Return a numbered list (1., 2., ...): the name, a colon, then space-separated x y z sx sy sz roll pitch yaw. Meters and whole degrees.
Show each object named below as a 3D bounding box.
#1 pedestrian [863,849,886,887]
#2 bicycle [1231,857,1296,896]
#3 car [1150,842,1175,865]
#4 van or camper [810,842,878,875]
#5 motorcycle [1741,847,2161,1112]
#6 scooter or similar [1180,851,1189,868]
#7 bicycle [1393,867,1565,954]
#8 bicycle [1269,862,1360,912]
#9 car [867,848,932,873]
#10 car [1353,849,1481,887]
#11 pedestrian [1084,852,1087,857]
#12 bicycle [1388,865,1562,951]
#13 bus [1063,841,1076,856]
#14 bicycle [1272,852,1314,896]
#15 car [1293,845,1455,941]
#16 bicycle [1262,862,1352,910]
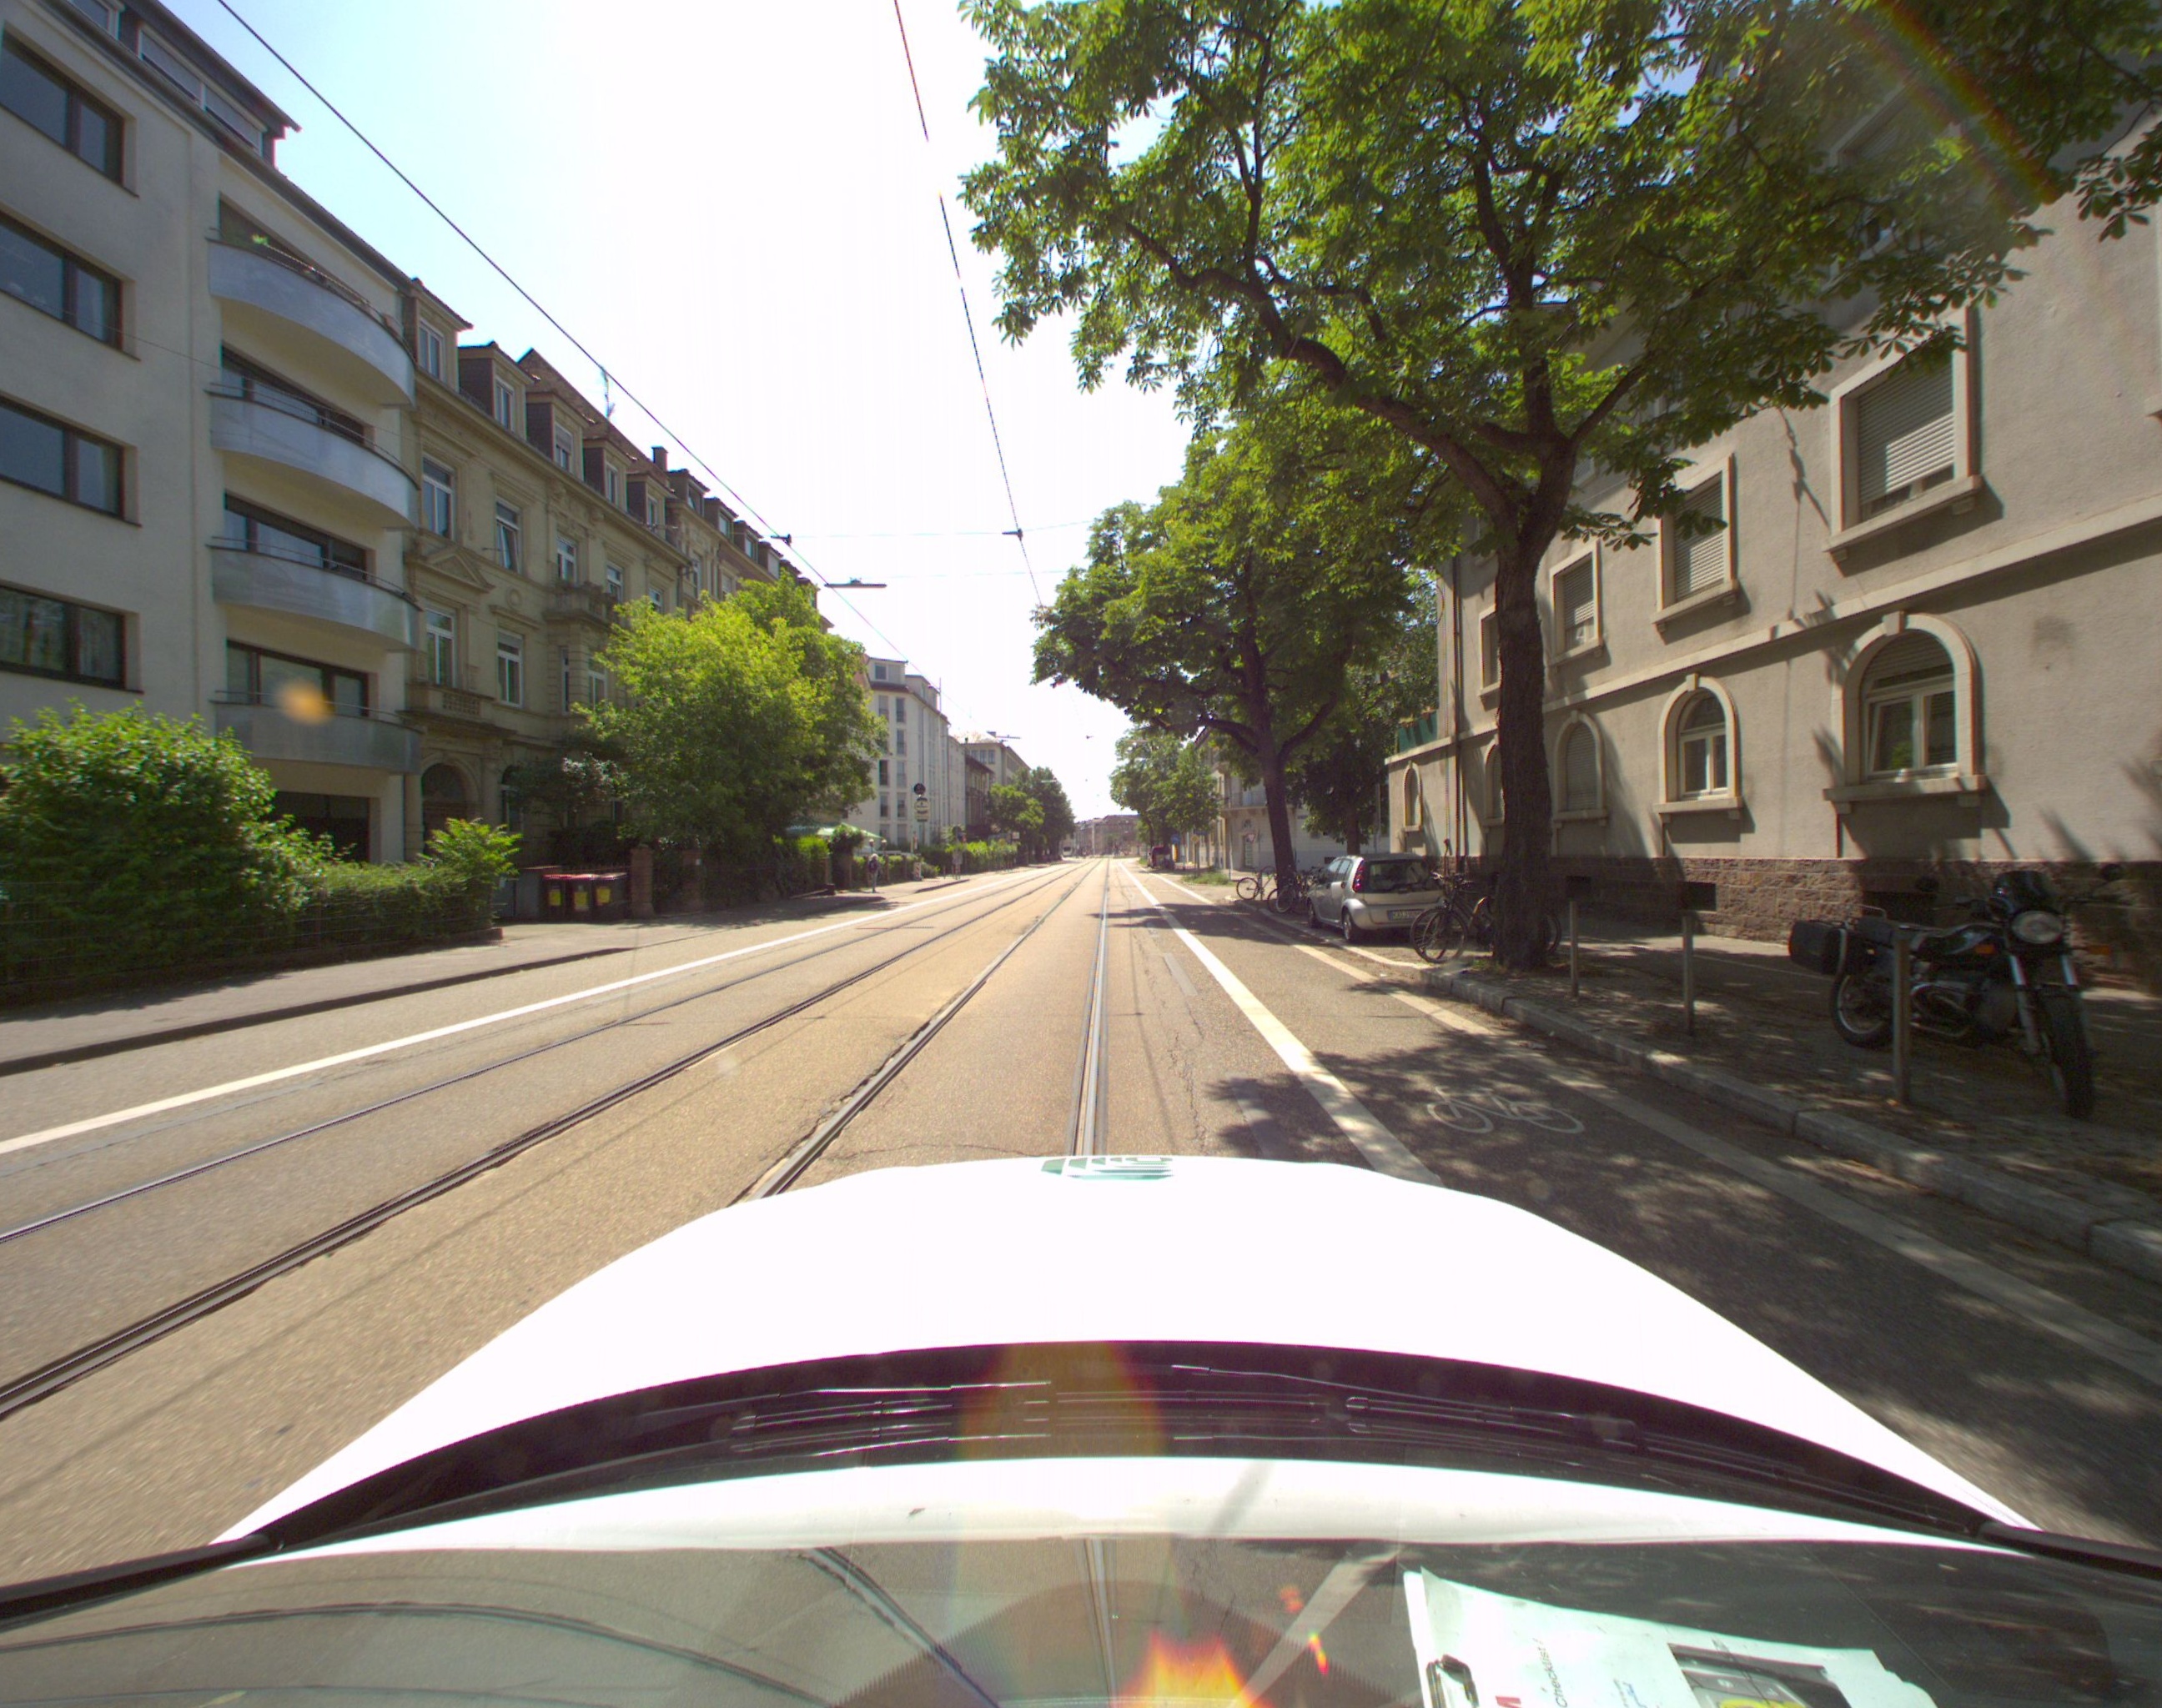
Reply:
1. pedestrian: -8.852 0.591 34.971 0.748 1.629 0.834 0 0 2
2. bicycle: 5.476 0.682 24.478 1.809 1.113 0.493 -1 -1 1
3. car: 7.336 -0.043 73.673 1.985 2.035 4.699 -1 0 2
4. van or camper: -16.118 0.297 55.650 1.977 2.119 4.823 0 0 21
5. motorcycle: 5.472 0.616 5.203 0.989 1.299 2.387 -1 0 13
6. scooter or similar: 7.772 0.426 61.281 0.499 1.230 1.574 0 0 2
7. bicycle: 4.989 0.699 10.302 1.879 1.052 0.539 -1 -1 8
8. bicycle: 5.495 0.777 19.254 1.954 1.113 0.599 -2 -1 4
9. car: -14.116 0.498 63.377 4.445 1.904 2.009 0 0 18
10. car: 13.630 0.534 33.122 4.637 1.437 1.749 0 0 29
11. pedestrian: 0.986 0.052 181.527 0.493 1.173 0.586 -1 0 -21
12. bicycle: 5.087 0.691 10.618 1.952 1.063 0.600 -1 -1 8
13. bus: -3.234 -1.557 231.803 2.920 3.937 11.278 1 -1 2
14. bicycle: 6.288 0.592 24.262 0.578 1.231 2.004 -1 -1 -3
15. car: 5.155 0.643 14.862 1.616 1.448 3.811 -3 -1 2
16. bicycle: 5.502 0.777 19.870 2.001 1.113 0.640 -2 -1 4
